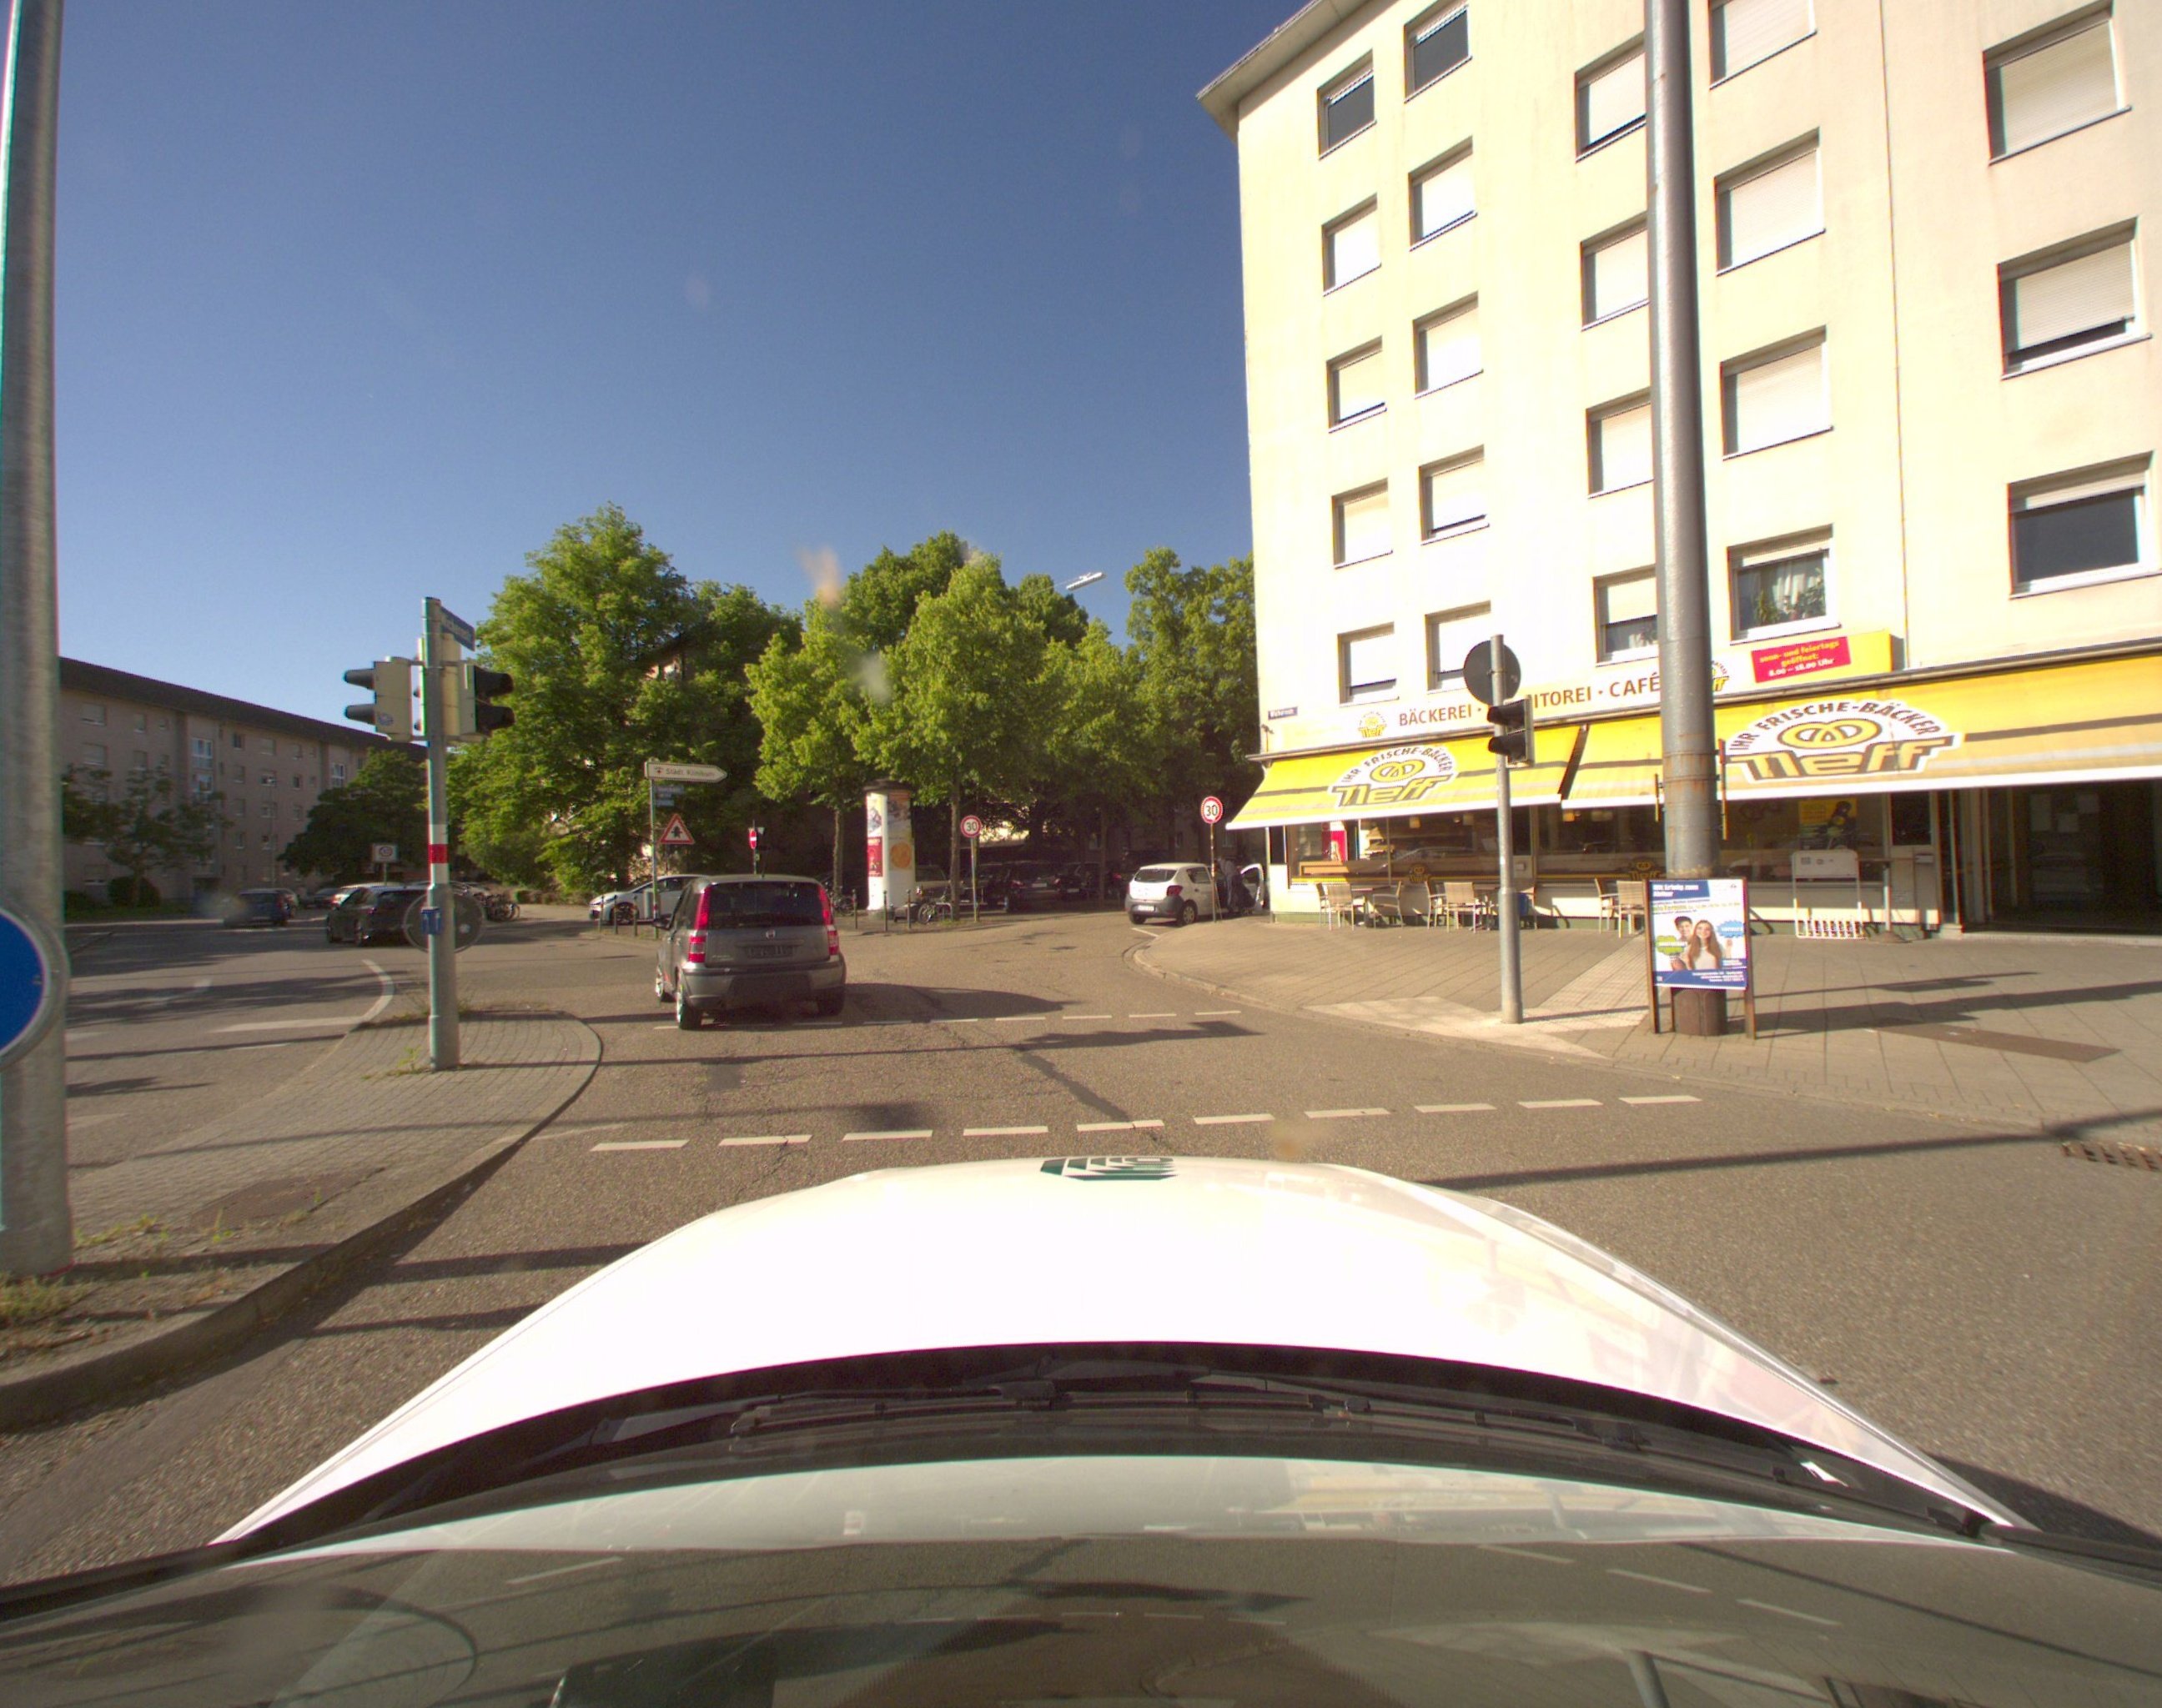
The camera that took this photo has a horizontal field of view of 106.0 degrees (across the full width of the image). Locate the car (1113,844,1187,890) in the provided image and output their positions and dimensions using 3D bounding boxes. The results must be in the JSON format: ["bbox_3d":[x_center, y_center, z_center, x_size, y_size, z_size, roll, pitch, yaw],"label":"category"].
[{"bbox_3d":[3.001,0.556,36.477,1.932,1.873,4.482,-2,0,-13],"label":"car"}]

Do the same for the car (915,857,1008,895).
[{"bbox_3d":[-5.642,1.031,38.866,1.737,1.640,4.273,-2,0,41],"label":"car"}]

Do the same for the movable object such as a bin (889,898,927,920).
[{"bbox_3d":[-5.094,1.615,24.030,0.570,0.565,1.120,-2,0,22],"label":"movable object such as a bin"}]

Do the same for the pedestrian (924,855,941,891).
[{"bbox_3d":[-7.251,0.925,39.753,0.741,1.735,0.537,-2,-1,-15],"label":"pedestrian"}]

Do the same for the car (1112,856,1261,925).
[{"bbox_3d":[2.780,0.862,20.831,1.703,1.497,4.047,-2,0,43],"label":"car"}]

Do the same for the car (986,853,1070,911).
[{"bbox_3d":[-1.885,0.852,27.496,1.836,1.671,4.312,-2,2,-17],"label":"car"}]

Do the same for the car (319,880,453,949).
[{"bbox_3d":[-17.380,1.454,20.319,3.709,1.508,1.695,-2,-1,36],"label":"car"}]

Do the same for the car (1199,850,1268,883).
[{"bbox_3d":[7.578,0.597,40.919,1.810,1.507,4.323,-2,0,-13],"label":"car"}]

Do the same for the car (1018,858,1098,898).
[{"bbox_3d":[-0.962,0.900,32.066,1.823,1.422,3.919,-2,0,-23],"label":"car"}]

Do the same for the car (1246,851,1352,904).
[{"bbox_3d":[6.862,0.696,25.425,1.581,1.463,3.695,-2,0,43],"label":"car"}]

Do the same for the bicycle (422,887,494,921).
[{"bbox_3d":[-23.925,1.907,31.305,0.659,1.177,2.047,-3,0,34],"label":"bicycle"}]

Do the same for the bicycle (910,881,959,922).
[{"bbox_3d":[-4.147,1.330,23.165,0.349,1.072,1.603,-2,-1,32],"label":"bicycle"}]

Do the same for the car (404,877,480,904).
[{"bbox_3d":[-40.049,2.268,51.066,3.613,1.481,1.602,-2,0,-42],"label":"car"}]

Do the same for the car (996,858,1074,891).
[{"bbox_3d":[-2.390,1.034,42.931,1.737,1.569,3.973,-2,0,43],"label":"car"}]

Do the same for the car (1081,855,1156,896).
[{"bbox_3d":[1.437,0.823,32.750,1.761,1.481,3.799,-2,0,-18],"label":"car"}]

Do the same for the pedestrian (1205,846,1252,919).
[{"bbox_3d":[3.574,0.682,19.772,0.749,1.722,0.752,-2,-1,-42],"label":"pedestrian"}]

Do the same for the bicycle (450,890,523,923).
[{"bbox_3d":[-21.567,1.894,29.599,0.563,1.031,2.047,-3,0,34],"label":"bicycle"}]

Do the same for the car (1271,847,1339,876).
[{"bbox_3d":[12.372,0.389,45.283,1.846,1.503,3.979,-1,0,-16],"label":"car"}]

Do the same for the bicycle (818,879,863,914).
[{"bbox_3d":[-7.991,1.404,27.110,0.349,1.072,1.603,-2,-1,32],"label":"bicycle"}]

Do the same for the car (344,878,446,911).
[{"bbox_3d":[-34.875,2.036,41.523,1.603,1.481,3.610,-2,0,18],"label":"car"}]

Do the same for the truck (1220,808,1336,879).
[{"bbox_3d":[10.016,-0.433,42.348,2.544,3.294,7.285,-2,-1,-16],"label":"truck"}]

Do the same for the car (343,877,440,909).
[{"bbox_3d":[-36.898,2.081,43.693,1.603,1.481,3.610,-2,0,18],"label":"car"}]

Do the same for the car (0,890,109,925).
[{"bbox_3d":[-59.569,3.069,46.756,4.415,1.798,2.059,-2,-1,-12],"label":"car"}]

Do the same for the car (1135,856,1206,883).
[{"bbox_3d":[5.073,0.859,45.805,1.747,1.295,4.441,-4,-2,39],"label":"car"}]

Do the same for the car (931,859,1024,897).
[{"bbox_3d":[-4.442,1.014,35.453,1.737,1.486,3.974,-2,0,36],"label":"car"}]

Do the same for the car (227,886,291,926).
[{"bbox_3d":[-34.109,2.127,33.783,3.550,1.508,1.694,-2,-1,42],"label":"car"}]

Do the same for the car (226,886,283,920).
[{"bbox_3d":[-40.749,2.400,40.216,1.693,1.508,3.553,-1,-1,-41],"label":"car"}]

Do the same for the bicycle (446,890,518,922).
[{"bbox_3d":[-22.001,1.892,29.949,0.463,1.031,2.047,-3,0,34],"label":"bicycle"}]

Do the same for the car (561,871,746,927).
[{"bbox_3d":[-13.944,1.399,26.751,5.064,1.518,1.901,-2,0,-41],"label":"car"}]

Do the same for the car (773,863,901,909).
[{"bbox_3d":[-9.324,1.181,31.314,1.885,1.518,4.326,-2,0,43],"label":"car"}]

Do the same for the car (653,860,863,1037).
[{"bbox_3d":[-3.790,0.907,9.241,1.627,1.561,3.224,-2,0,-32],"label":"car"}]

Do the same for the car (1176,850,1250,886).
[{"bbox_3d":[5.939,0.629,37.291,1.810,1.507,4.323,-2,0,-13],"label":"car"}]

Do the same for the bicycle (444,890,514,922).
[{"bbox_3d":[-22.357,1.909,30.292,0.442,1.031,2.047,-3,0,34],"label":"bicycle"}]

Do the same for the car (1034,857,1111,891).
[{"bbox_3d":[-0.359,0.946,39.958,1.737,1.486,3.974,-2,0,36],"label":"car"}]

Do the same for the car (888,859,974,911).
[{"bbox_3d":[-5.282,1.044,28.317,1.926,1.610,3.965,-2,-1,-26],"label":"car"}]

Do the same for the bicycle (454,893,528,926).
[{"bbox_3d":[-21.058,1.962,29.103,0.563,1.031,2.047,-3,0,34],"label":"bicycle"}]
